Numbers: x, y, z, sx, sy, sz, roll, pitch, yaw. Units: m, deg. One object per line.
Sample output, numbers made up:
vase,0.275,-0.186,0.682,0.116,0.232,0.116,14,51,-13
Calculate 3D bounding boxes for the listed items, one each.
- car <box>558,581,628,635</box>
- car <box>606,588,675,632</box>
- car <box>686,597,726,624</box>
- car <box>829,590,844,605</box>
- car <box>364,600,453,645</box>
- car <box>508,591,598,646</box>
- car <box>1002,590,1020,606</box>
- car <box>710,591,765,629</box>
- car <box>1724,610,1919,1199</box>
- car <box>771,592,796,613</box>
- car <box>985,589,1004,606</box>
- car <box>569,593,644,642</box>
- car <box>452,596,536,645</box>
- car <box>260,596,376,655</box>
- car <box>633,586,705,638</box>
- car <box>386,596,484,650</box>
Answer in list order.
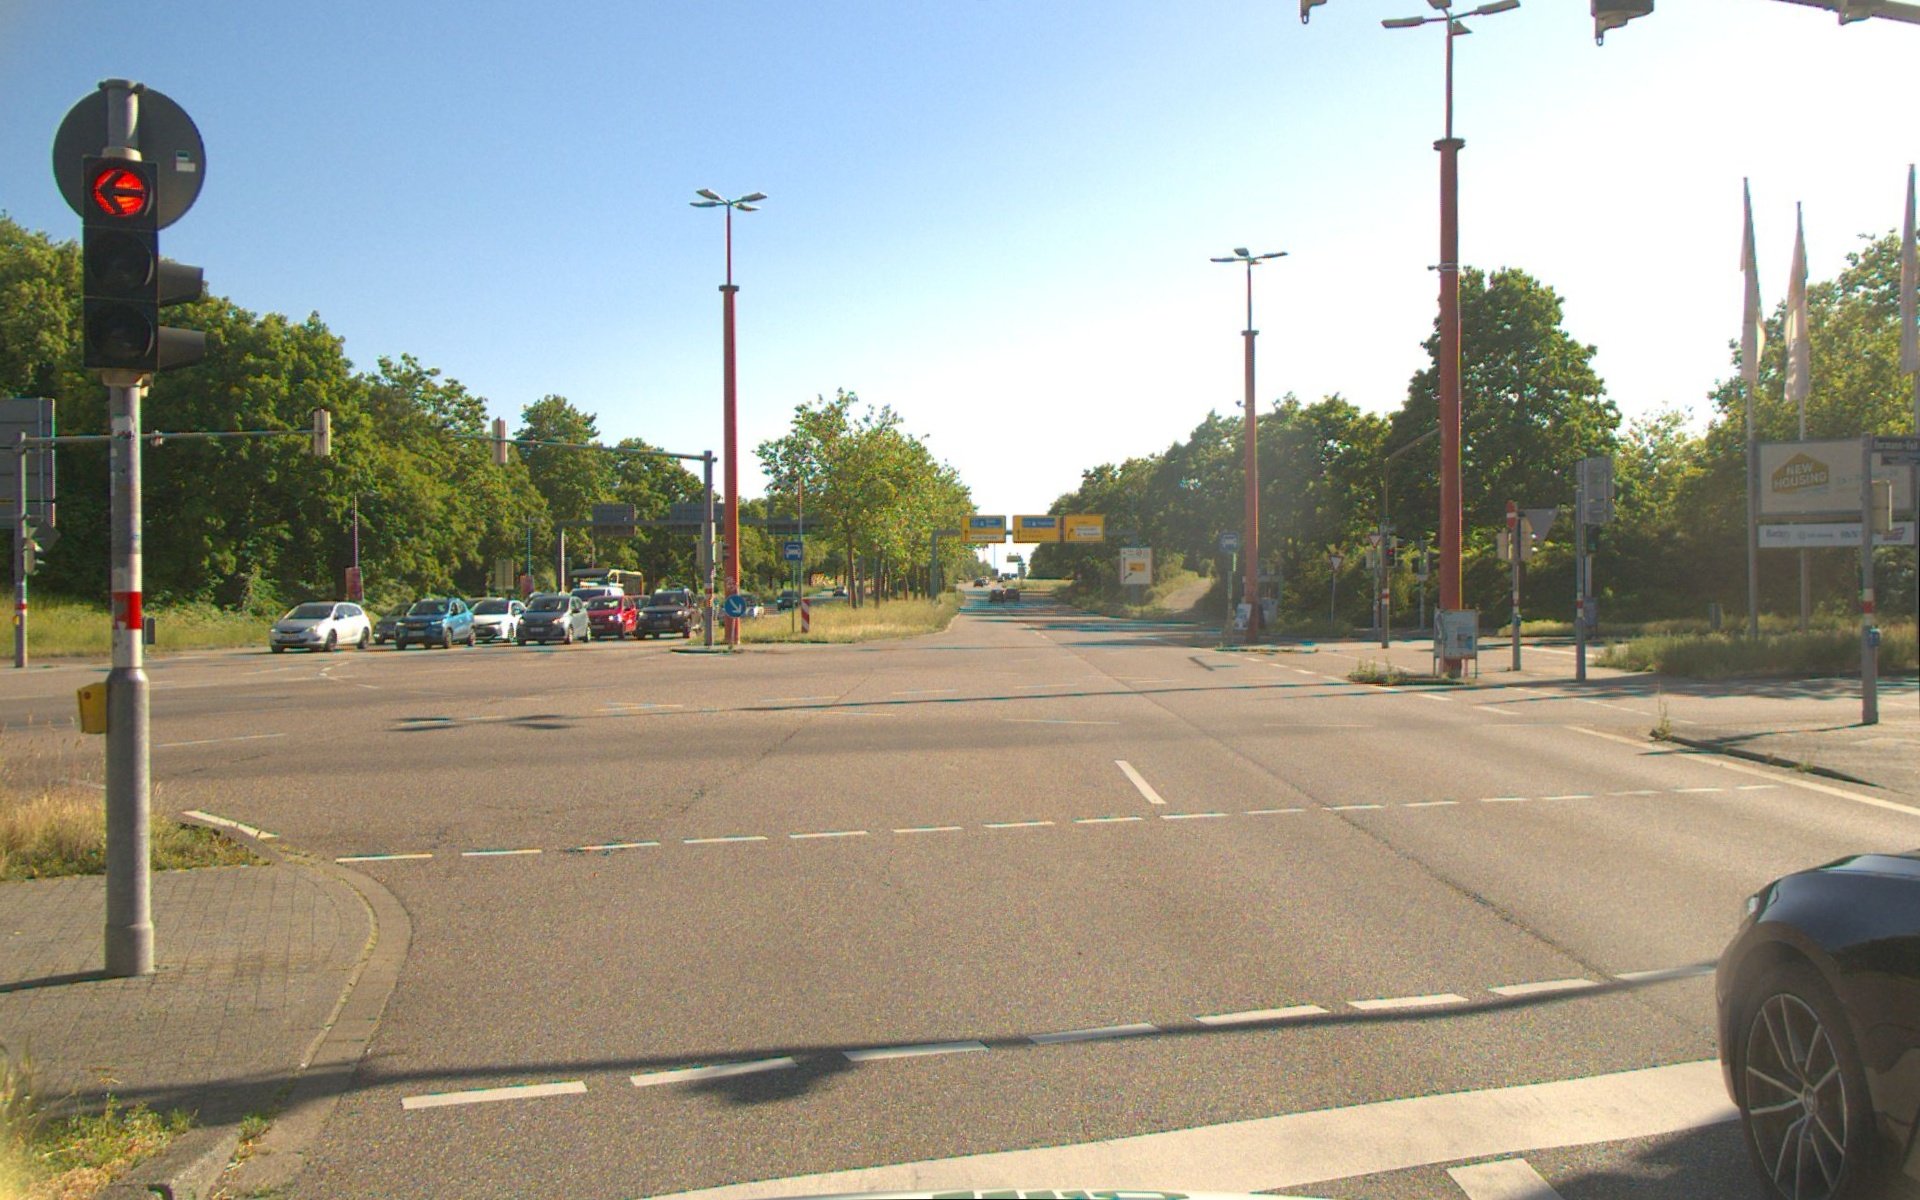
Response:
car,-15.620,0.336,70.586,1.922,2.193,5.080,-1,0,-1
car,-12.404,0.372,64.430,1.862,1.658,4.000,0,0,1
car,-15.438,0.642,100.793,1.847,1.570,3.999,-2,0,-1
car,-17.054,-0.341,228.492,1.881,2.034,4.602,0,0,-1
car,-19.887,0.780,59.793,1.846,1.539,4.000,-1,0,0
car,-12.769,0.556,52.087,1.836,1.577,4.027,-2,1,-1
car,5.934,-0.230,193.816,1.953,1.764,3.999,1,0,-1
car,-9.530,0.407,71.099,1.847,1.570,3.999,-2,0,-1
car,2.895,0.765,2.307,1.727,1.466,4.295,1,0,1
car,-15.477,0.211,144.952,1.800,1.869,3.960,0,0,-1
car,3.816,-0.267,182.477,1.953,1.764,3.999,1,0,-1
car,-12.445,0.588,58.430,1.838,1.579,3.998,-3,0,-2
car,-16.031,0.668,57.027,1.863,1.582,3.998,-1,0,-2
car,-19.541,0.742,50.540,1.838,1.681,4.219,-1,0,0
car,-9.838,0.390,56.210,1.757,1.654,4.142,-2,0,-2
car,-16.103,0.688,50.875,1.764,1.542,3.858,-2,0,0
